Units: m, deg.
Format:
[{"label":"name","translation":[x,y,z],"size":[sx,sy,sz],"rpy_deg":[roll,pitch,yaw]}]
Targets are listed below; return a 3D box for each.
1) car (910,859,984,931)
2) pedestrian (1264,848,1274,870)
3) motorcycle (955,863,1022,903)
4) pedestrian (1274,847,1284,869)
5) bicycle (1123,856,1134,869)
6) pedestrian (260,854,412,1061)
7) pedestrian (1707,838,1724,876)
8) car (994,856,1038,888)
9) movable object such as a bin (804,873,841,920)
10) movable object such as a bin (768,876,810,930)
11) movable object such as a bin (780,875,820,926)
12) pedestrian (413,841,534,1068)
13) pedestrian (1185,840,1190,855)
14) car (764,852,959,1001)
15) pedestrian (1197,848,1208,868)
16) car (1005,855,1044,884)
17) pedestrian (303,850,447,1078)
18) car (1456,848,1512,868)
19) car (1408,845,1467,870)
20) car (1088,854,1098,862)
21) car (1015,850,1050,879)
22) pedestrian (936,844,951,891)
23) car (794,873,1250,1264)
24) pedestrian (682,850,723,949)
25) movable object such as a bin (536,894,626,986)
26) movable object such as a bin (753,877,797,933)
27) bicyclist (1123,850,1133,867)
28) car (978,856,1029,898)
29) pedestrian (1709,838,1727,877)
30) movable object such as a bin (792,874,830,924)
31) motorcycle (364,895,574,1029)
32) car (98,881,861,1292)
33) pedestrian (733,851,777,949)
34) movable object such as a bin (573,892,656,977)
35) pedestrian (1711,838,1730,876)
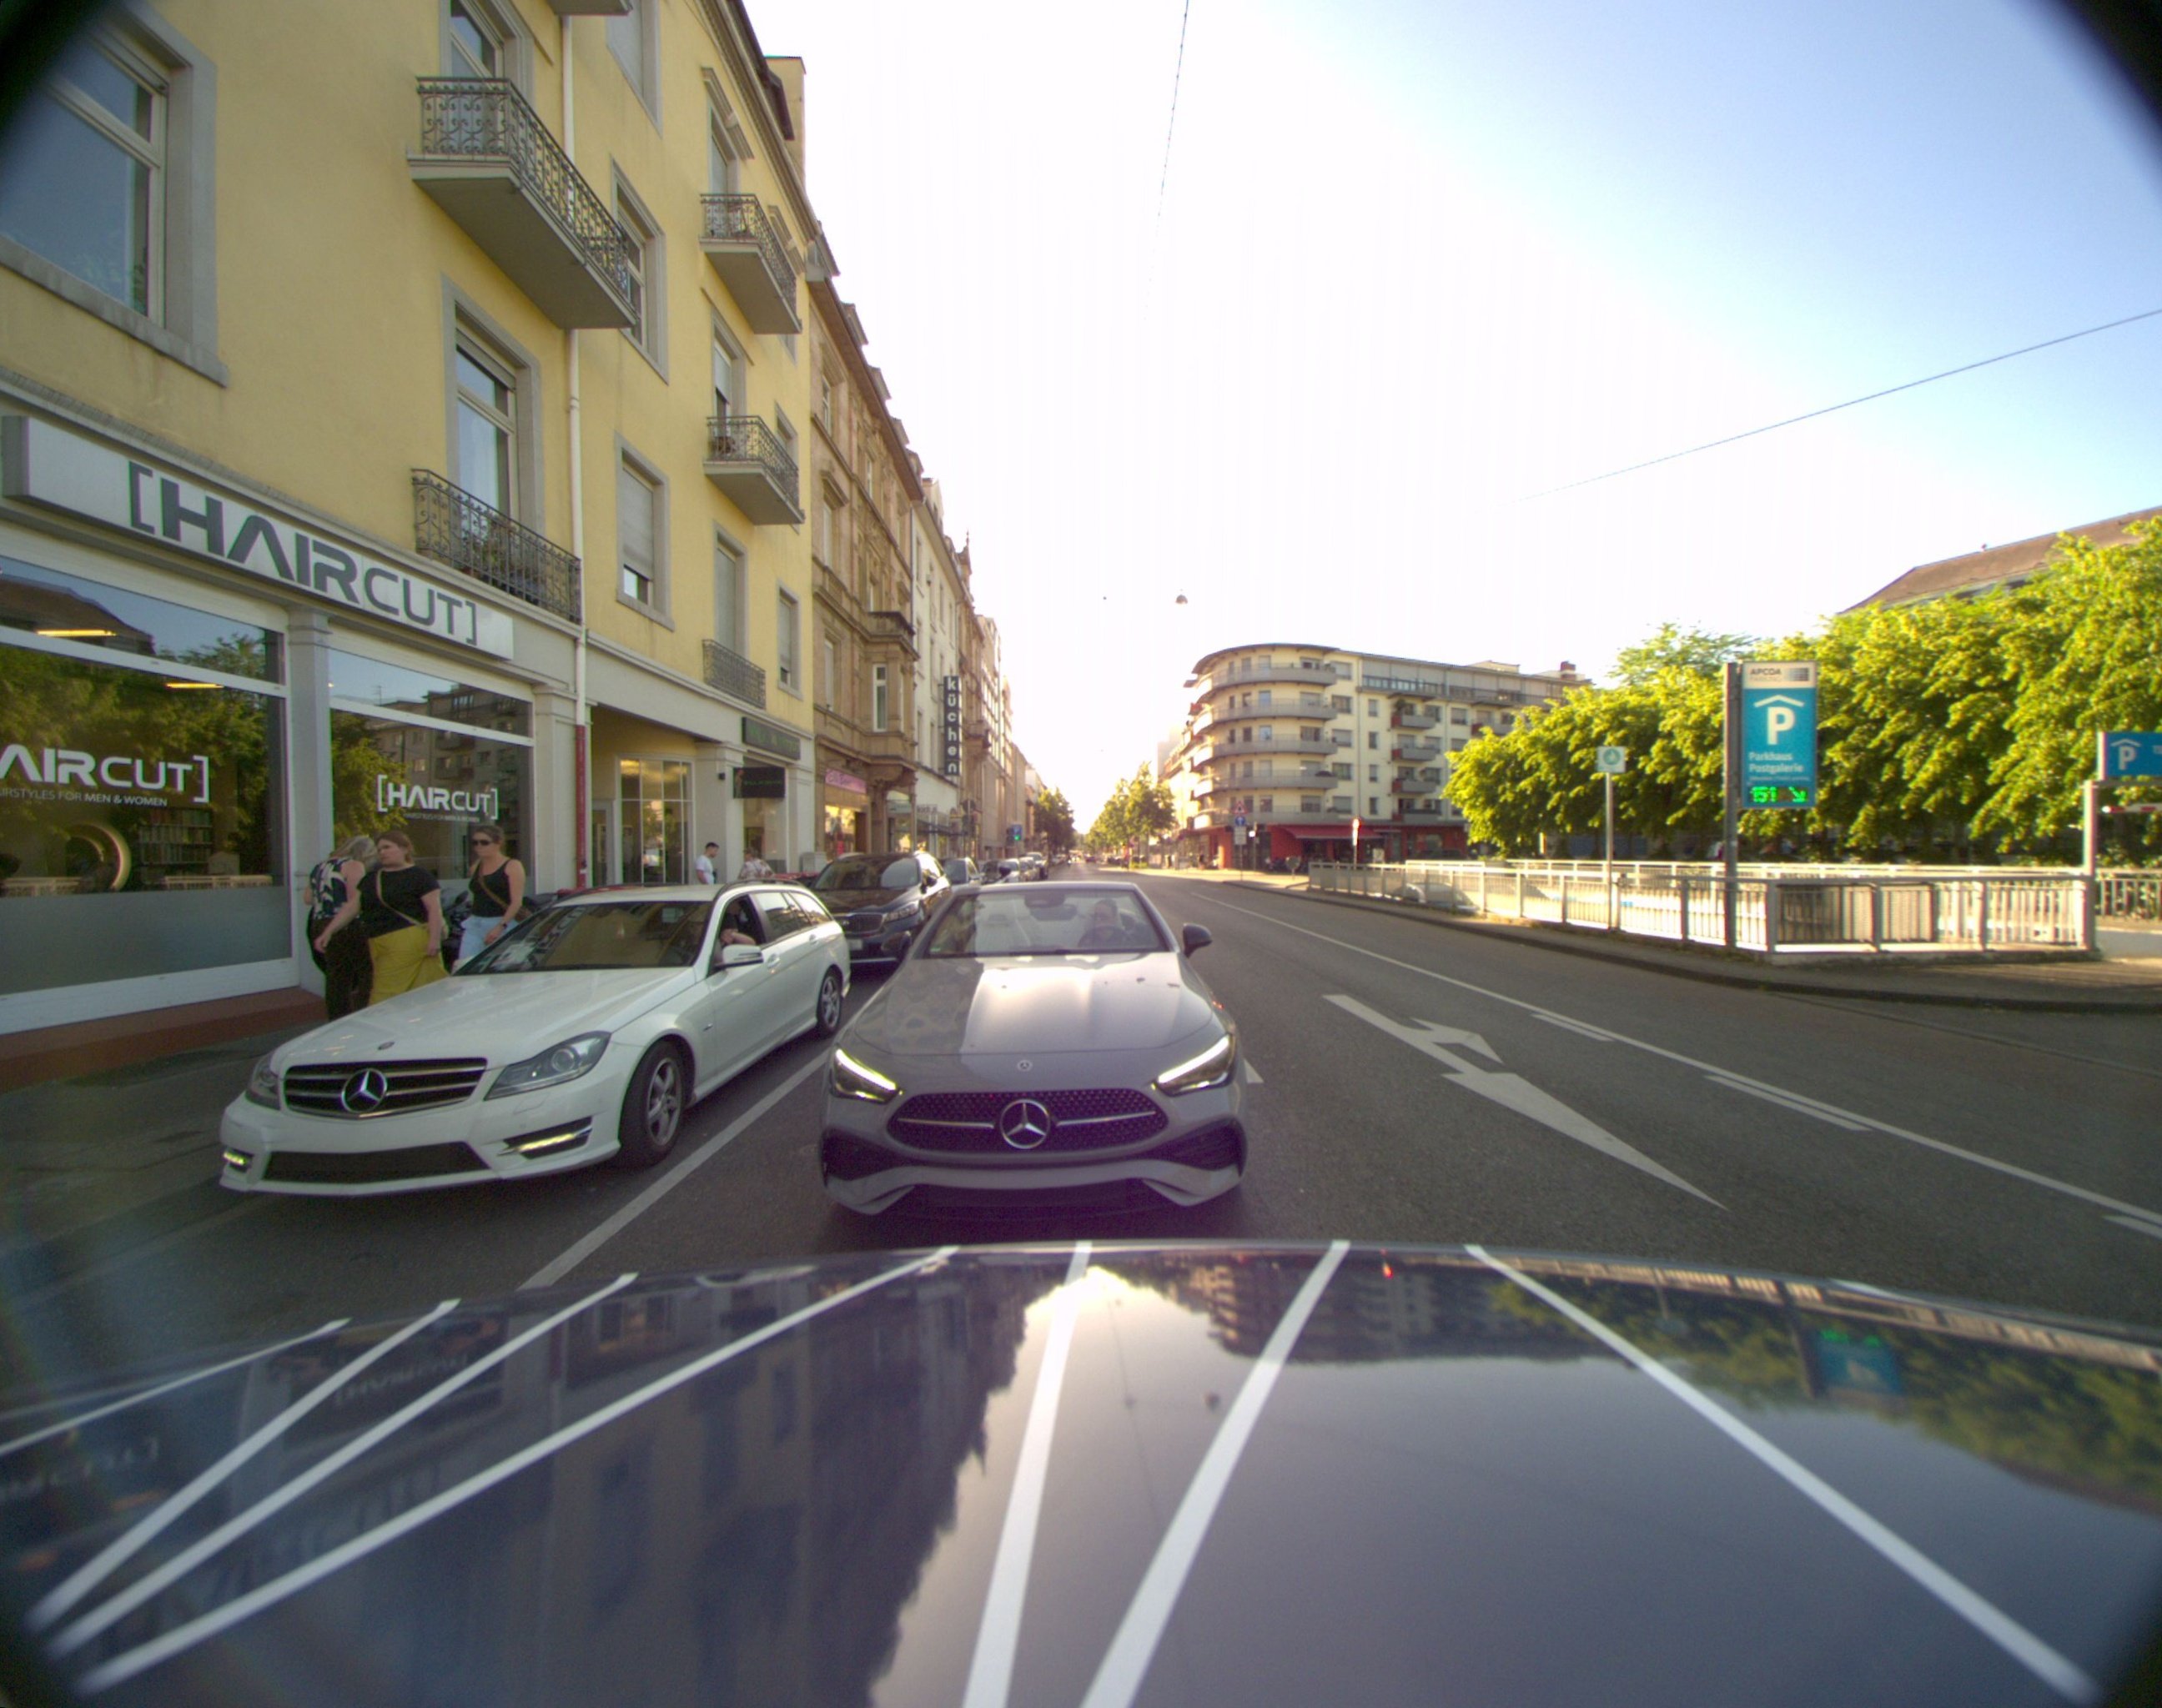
[{"label":"car","translation":[-3.078,0.894,17.855],"size":[1.275,1.509,2.794],"rpy_deg":[-1,0,-2]},{"label":"pedestrian","translation":[14.766,0.357,59.631],"size":[0.575,1.698,0.642],"rpy_deg":[-1,1,3]},{"label":"motorcycle","translation":[-3.205,0.998,26.548],"size":[2.178,1.272,0.866],"rpy_deg":[-2,1,-42]},{"label":"pedestrian","translation":[15.479,0.334,59.417],"size":[0.575,1.698,0.642],"rpy_deg":[-1,1,3]},{"label":"bicycle","translation":[4.486,0.811,72.028],"size":[0.713,1.205,1.872],"rpy_deg":[-1,0,-6]},{"label":"pedestrian","translation":[-6.079,0.817,6.228],"size":[0.698,1.623,0.532],"rpy_deg":[0,1,-2]},{"label":"pedestrian","translation":[30.069,0.146,36.006],"size":[0.602,1.782,0.581],"rpy_deg":[-3,2,-45]},{"label":"car","translation":[-3.076,0.838,36.738],"size":[1.737,1.409,3.802],"rpy_deg":[-1,0,0]},{"label":"movable object such as a bin","translation":[-6.053,0.991,17.805],"size":[0.606,1.060,0.619],"rpy_deg":[2,1,0]},{"label":"movable object such as a bin","translation":[-6.089,1.005,15.846],"size":[0.606,1.060,0.619],"rpy_deg":[2,1,0]},{"label":"movable object such as a bin","translation":[-6.077,0.998,16.460],"size":[0.606,1.060,0.619],"rpy_deg":[2,1,0]},{"label":"pedestrian","translation":[-4.509,0.724,5.661],"size":[0.514,1.623,0.415],"rpy_deg":[-1,1,5]},{"label":"pedestrian","translation":[11.245,-0.679,80.054],"size":[0.376,1.521,0.516],"rpy_deg":[-2,1,-3]},{"label":"car","translation":[-2.980,0.855,11.347],"size":[1.760,1.726,4.571],"rpy_deg":[-1,0,-3]},{"label":"pedestrian","translation":[9.996,0.351,62.508],"size":[0.774,1.606,0.696],"rpy_deg":[-1,1,-3]},{"label":"car","translation":[-2.998,0.804,41.099],"size":[1.737,1.409,3.802],"rpy_deg":[-1,0,0]},{"label":"pedestrian","translation":[-5.259,0.789,5.678],"size":[0.617,1.623,0.463],"rpy_deg":[-1,1,11]},{"label":"car","translation":[34.279,0.321,64.679],"size":[4.300,1.611,1.951],"rpy_deg":[-2,1,-24]},{"label":"car","translation":[29.318,0.241,62.552],"size":[4.432,1.901,1.951],"rpy_deg":[-2,1,-24]},{"label":"car","translation":[2.326,0.681,144.231],"size":[1.806,1.388,3.926],"rpy_deg":[-1,0,0]},{"label":"car","translation":[-3.004,0.627,47.728],"size":[1.895,1.680,4.049],"rpy_deg":[-1,0,0]},{"label":"pedestrian","translation":[-5.288,0.518,29.224],"size":[0.434,1.752,0.481],"rpy_deg":[-2,1,1]},{"label":"car","translation":[-0.233,0.944,5.325],"size":[1.848,1.440,4.373],"rpy_deg":[-1,0,0]},{"label":"pedestrian","translation":[-6.476,0.758,13.000],"size":[0.337,1.651,0.525],"rpy_deg":[1,1,29]},{"label":"movable object such as a bin","translation":[-6.128,1.042,9.333],"size":[0.661,1.035,0.619],"rpy_deg":[2,1,3]},{"label":"movable object such as a bin","translation":[-6.112,1.013,15.199],"size":[0.606,1.060,0.619],"rpy_deg":[2,1,0]},{"label":"bicyclist","translation":[4.450,0.414,71.989],"size":[0.713,1.605,0.975],"rpy_deg":[-2,1,-5]},{"label":"car","translation":[-3.042,0.855,30.550],"size":[1.737,1.509,4.164],"rpy_deg":[-1,0,-2]},{"label":"pedestrian","translation":[29.721,0.163,35.431],"size":[0.602,1.782,0.581],"rpy_deg":[-3,2,-45]},{"label":"movable object such as a bin","translation":[-6.066,1.003,17.094],"size":[0.606,1.060,0.619],"rpy_deg":[2,1,0]},{"label":"motorcycle","translation":[-6.169,1.028,7.831],"size":[0.551,1.085,2.009],"rpy_deg":[0,0,-1]},{"label":"car","translation":[-3.063,1.017,5.297],"size":[1.743,1.438,4.463],"rpy_deg":[-1,0,0]},{"label":"pedestrian","translation":[-5.659,0.779,13.188],"size":[0.594,1.651,0.450],"rpy_deg":[0,1,-39]},{"label":"movable object such as a bin","translation":[-6.100,1.037,9.962],"size":[0.669,1.019,0.619],"rpy_deg":[2,1,3]},{"label":"pedestrian","translation":[30.771,0.144,36.573],"size":[0.602,1.782,0.581],"rpy_deg":[-3,2,-40]}]
